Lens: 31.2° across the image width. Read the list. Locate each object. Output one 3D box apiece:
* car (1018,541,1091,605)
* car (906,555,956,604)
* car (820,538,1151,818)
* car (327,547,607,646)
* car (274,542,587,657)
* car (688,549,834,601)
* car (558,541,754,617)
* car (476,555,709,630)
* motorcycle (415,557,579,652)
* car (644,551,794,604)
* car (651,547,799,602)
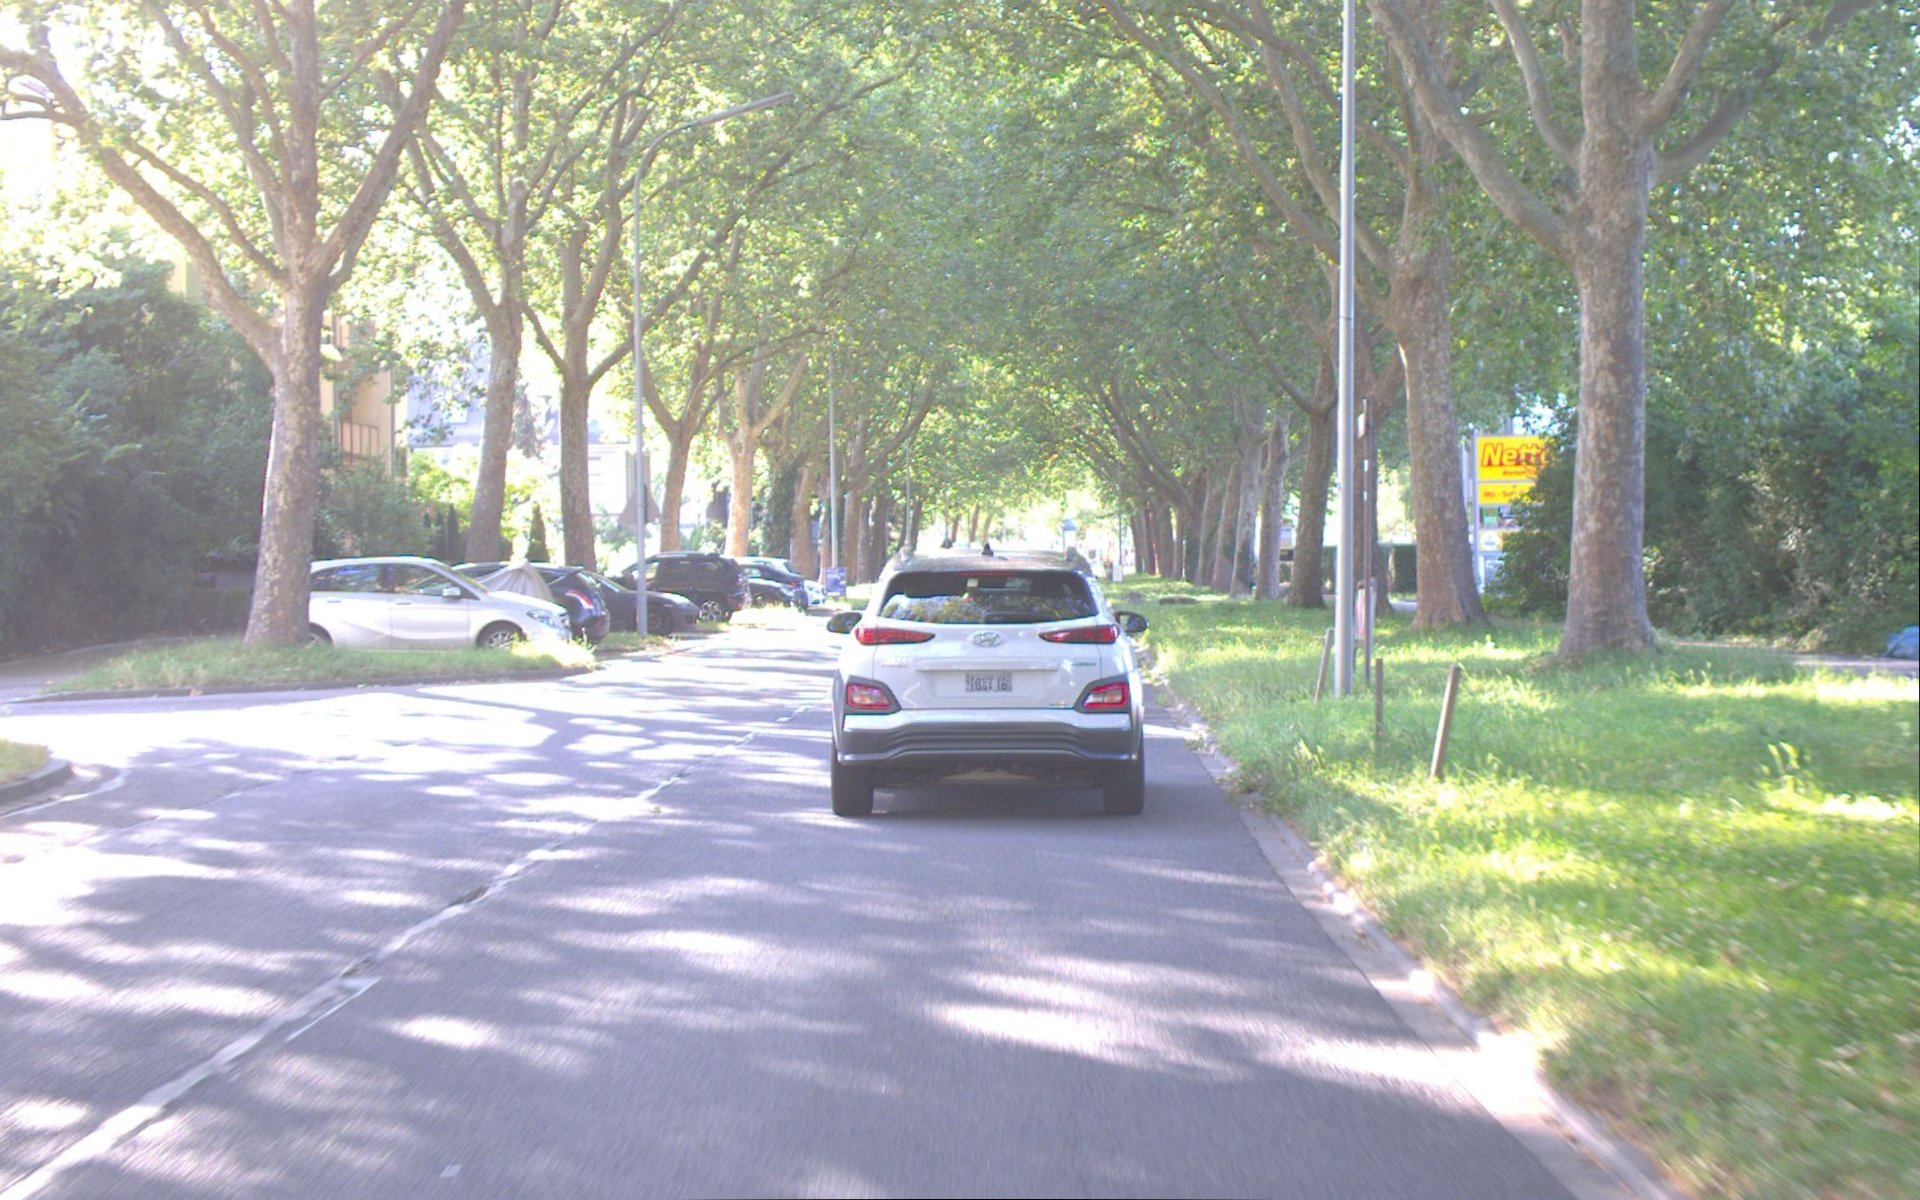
[{"bbox_3d":[2.549,-0.746,93.208,1.676,1.690,3.745,0,1,-3],"label":"car"},{"bbox_3d":[-0.889,-0.646,105.688,1.535,1.454,3.185,0,1,0],"label":"car"},{"bbox_3d":[0.109,0.410,21.202,1.835,1.550,4.000,1,1,-1],"label":"car"},{"bbox_3d":[-7.684,-0.067,53.833,4.160,1.501,1.802,0,1,-2],"label":"car"},{"bbox_3d":[-7.460,-0.018,48.723,4.182,1.579,2.000,0,1,-2],"label":"car"},{"bbox_3d":[-5.685,-0.727,98.633,3.987,1.465,1.809,0,1,3],"label":"car"},{"bbox_3d":[-6.838,-0.478,77.552,4.244,1.674,1.671,0,1,2],"label":"car"},{"bbox_3d":[-6.967,-0.141,65.467,4.240,1.348,1.741,-1,0,0],"label":"car"},{"bbox_3d":[-6.896,0.058,51.288,2.385,1.383,0.648,0,1,-3],"label":"motorcycle"},{"bbox_3d":[-6.507,-0.624,93.004,3.986,1.419,1.809,0,1,-2],"label":"car"},{"bbox_3d":[-6.570,-0.728,96.233,3.987,1.515,1.809,0,1,1],"label":"car"}]
